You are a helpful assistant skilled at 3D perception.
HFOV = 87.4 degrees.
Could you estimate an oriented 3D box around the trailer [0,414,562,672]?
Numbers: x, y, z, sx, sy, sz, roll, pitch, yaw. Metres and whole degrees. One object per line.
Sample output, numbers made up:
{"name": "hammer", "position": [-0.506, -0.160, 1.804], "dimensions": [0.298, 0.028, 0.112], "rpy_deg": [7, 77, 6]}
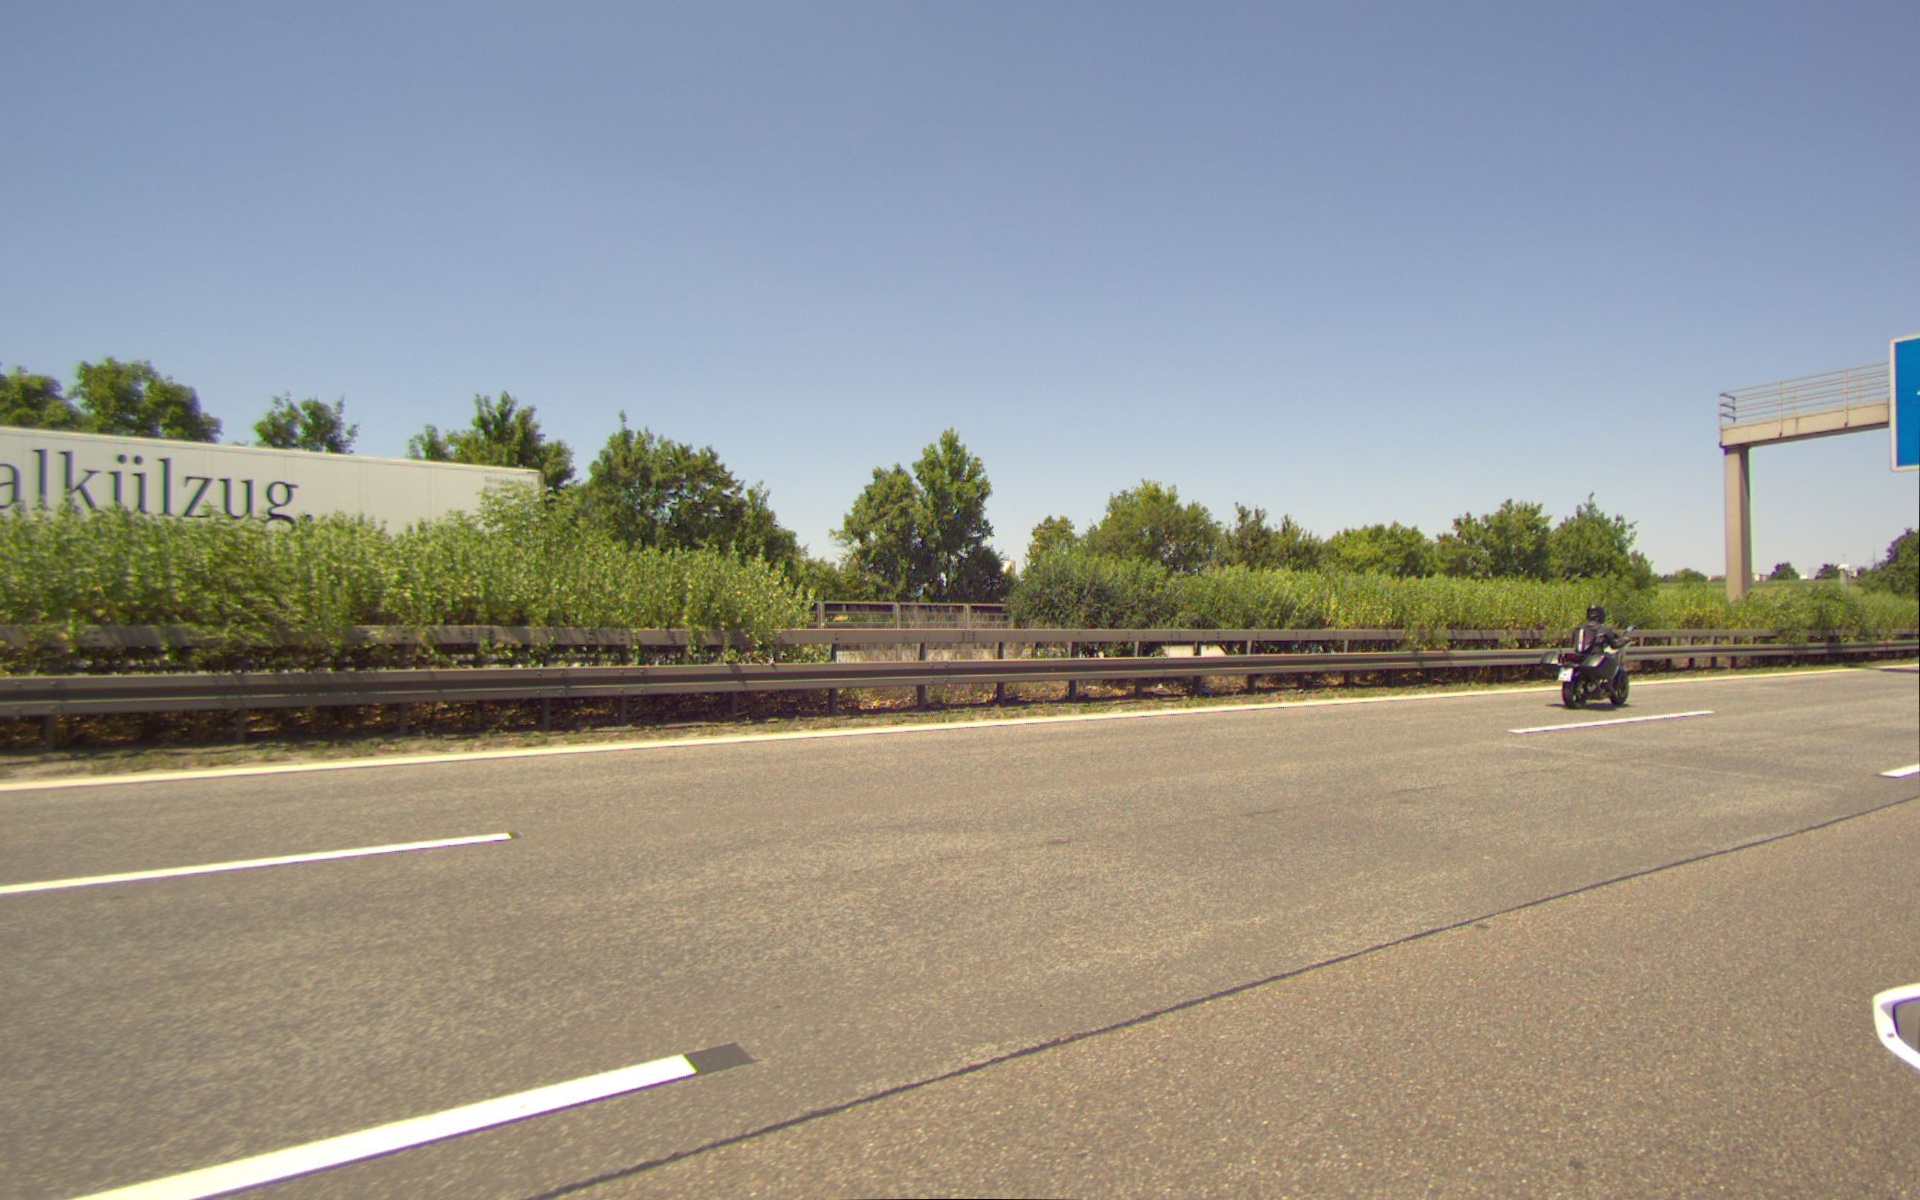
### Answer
{"name": "trailer", "position": [-14.932, -0.899, 18.271], "dimensions": [14.081, 4.188, 2.589], "rpy_deg": [1, 0, -34]}

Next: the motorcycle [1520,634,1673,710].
{"name": "motorcycle", "position": [10.370, 1.129, 16.325], "dimensions": [2.816, 1.103, 0.908], "rpy_deg": [1, 0, -30]}

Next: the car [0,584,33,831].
{"name": "car", "position": [-7.480, 0.599, 4.496], "dimensions": [4.618, 1.459, 1.771], "rpy_deg": [1, -1, -33]}

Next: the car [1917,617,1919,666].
{"name": "car", "position": [31.092, 1.267, 30.471], "dimensions": [5.071, 1.460, 1.865], "rpy_deg": [1, 0, -33]}

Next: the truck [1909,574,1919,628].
{"name": "truck", "position": [75.820, 0.150, 76.335], "dimensions": [10.209, 4.020, 2.984], "rpy_deg": [1, 0, -33]}

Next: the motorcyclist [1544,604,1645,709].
{"name": "motorcyclist", "position": [10.275, 0.883, 16.267], "dimensions": [1.284, 1.618, 0.889], "rpy_deg": [1, 0, -30]}
